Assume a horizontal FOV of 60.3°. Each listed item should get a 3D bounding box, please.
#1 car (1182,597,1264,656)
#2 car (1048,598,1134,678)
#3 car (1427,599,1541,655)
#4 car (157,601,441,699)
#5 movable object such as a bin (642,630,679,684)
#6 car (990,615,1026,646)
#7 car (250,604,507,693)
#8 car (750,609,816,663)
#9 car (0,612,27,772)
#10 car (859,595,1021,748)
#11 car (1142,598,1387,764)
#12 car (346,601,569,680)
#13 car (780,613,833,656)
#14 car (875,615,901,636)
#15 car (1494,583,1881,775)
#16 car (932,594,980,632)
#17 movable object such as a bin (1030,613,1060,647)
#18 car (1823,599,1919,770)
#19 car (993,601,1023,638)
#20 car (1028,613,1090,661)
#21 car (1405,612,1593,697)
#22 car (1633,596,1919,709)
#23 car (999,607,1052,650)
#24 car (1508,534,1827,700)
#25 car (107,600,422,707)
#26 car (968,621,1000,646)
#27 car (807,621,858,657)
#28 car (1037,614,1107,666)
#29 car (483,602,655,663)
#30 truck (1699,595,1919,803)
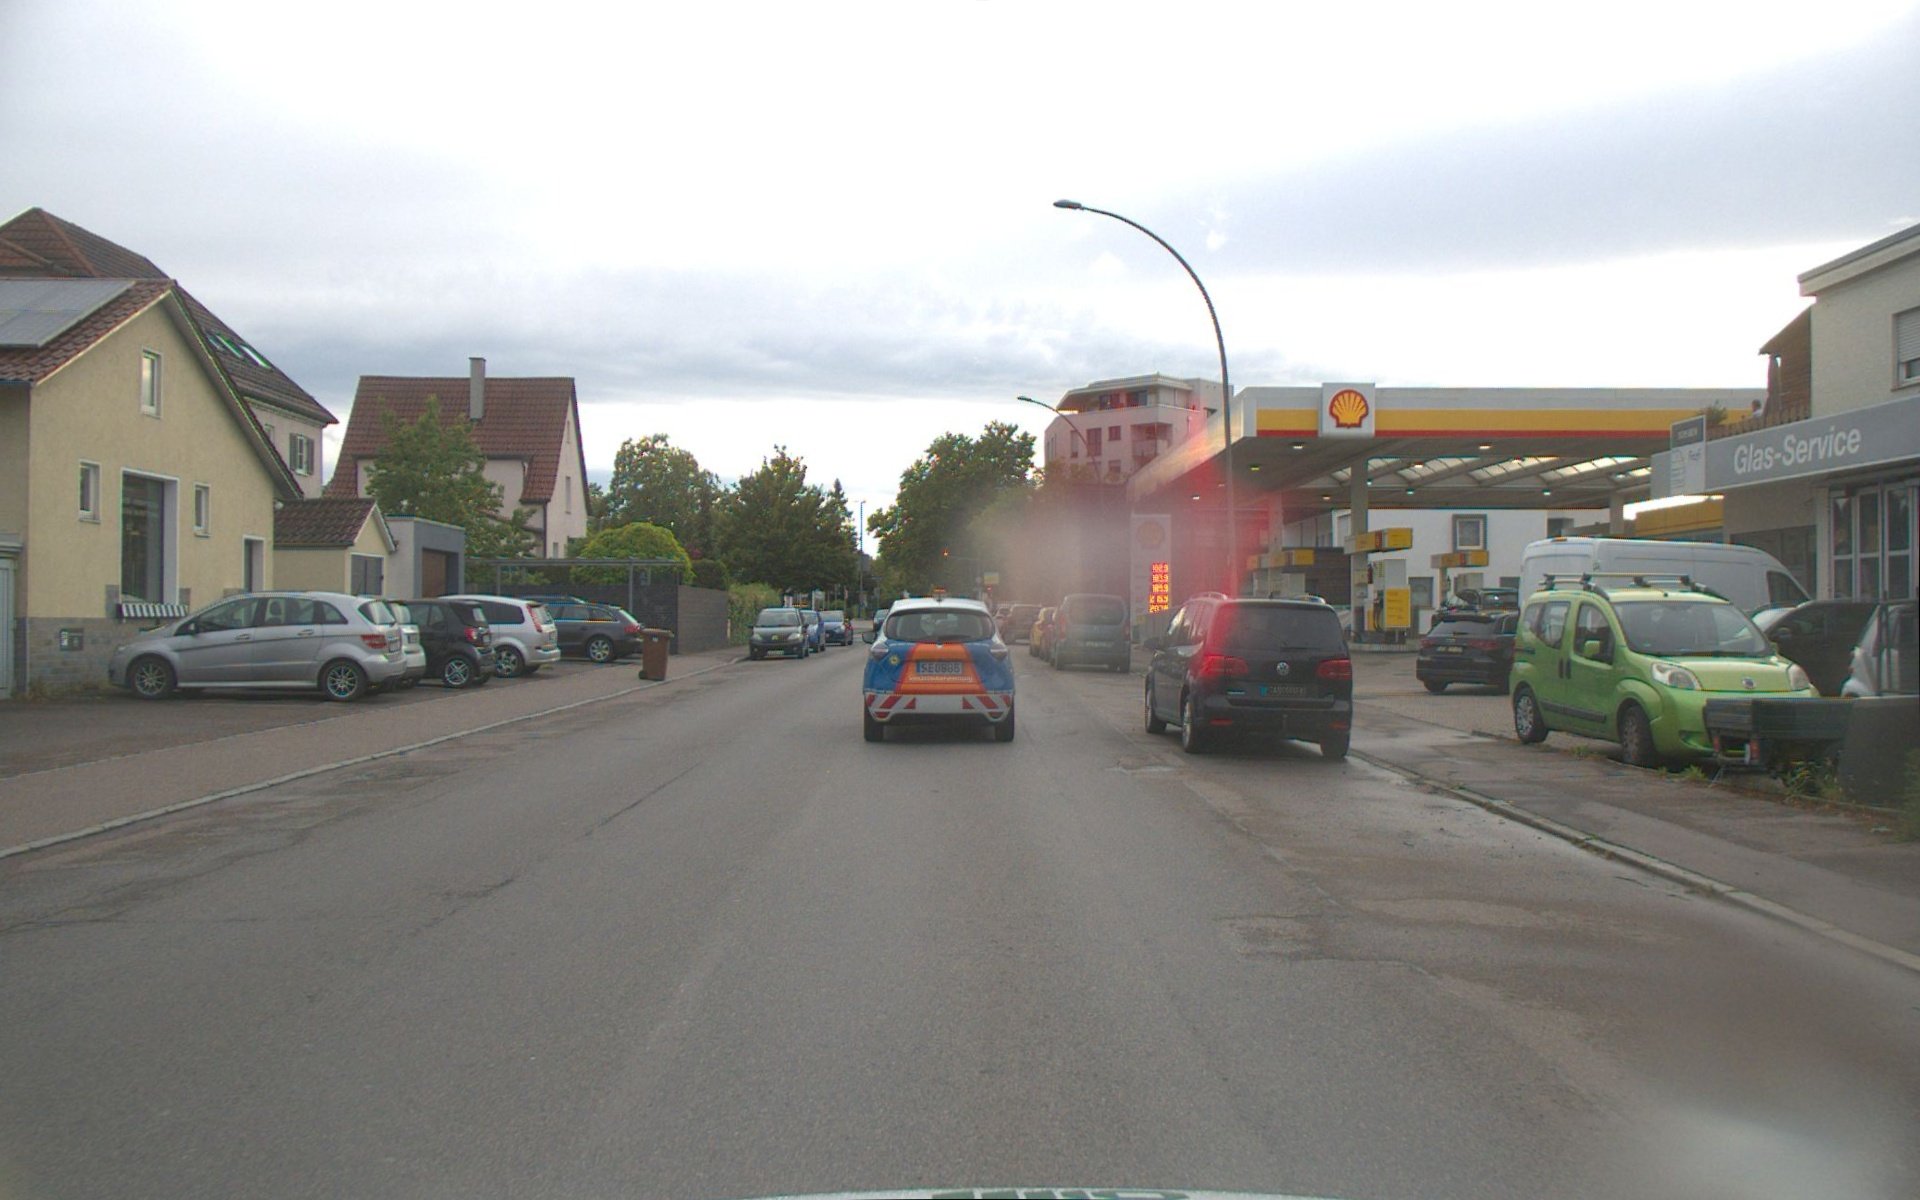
[{"bbox_3d":[8.334,0.821,52.640,1.783,1.790,3.998,0,0,-3],"label":"car"},{"bbox_3d":[3.114,0.891,40.117,1.622,1.768,4.443,2,-1,-1],"label":"car"},{"bbox_3d":[14.727,0.738,46.734,1.704,1.491,4.672,0,0,-1],"label":"car"},{"bbox_3d":[-10.916,0.805,27.551,4.003,1.559,1.812,0,0,-4],"label":"car"},{"bbox_3d":[-6.469,1.229,35.727,0.583,1.075,0.687,5,1,0],"label":"movable object such as a bin"},{"bbox_3d":[2.692,1.685,92.880,1.827,1.694,4.319,1,-1,-1],"label":"car"},{"bbox_3d":[-10.308,0.836,29.551,4.005,1.529,1.754,0,0,-6],"label":"car"},{"bbox_3d":[-5.371,1.075,50.479,1.576,1.532,3.707,-1,-1,0],"label":"car"},{"bbox_3d":[-10.686,0.856,14.662,3.795,1.463,1.767,0,0,-2],"label":"car"},{"bbox_3d":[-0.223,0.763,19.654,1.710,1.609,4.000,0,0,0],"label":"car"},{"bbox_3d":[3.232,0.795,18.336,1.953,1.624,4.000,0,0,0],"label":"car"},{"bbox_3d":[-10.079,0.800,33.450,4.005,1.540,1.881,0,0,-6],"label":"car"},{"bbox_3d":[-5.390,1.201,58.474,1.514,1.427,3.596,-1,-1,0],"label":"car"},{"bbox_3d":[-4.992,1.760,114.956,1.593,1.459,3.684,0,-1,1],"label":"car"},{"bbox_3d":[7.172,0.708,16.810,1.954,1.712,3.996,0,0,-5],"label":"car"},{"bbox_3d":[-0.152,0.563,74.599,1.952,1.601,4.001,1,0,2],"label":"car"},{"bbox_3d":[3.519,1.231,68.452,1.104,1.413,1.503,0,-1,-2],"label":"movable object such as a bin"},{"bbox_3d":[9.830,0.767,15.091,1.713,1.546,3.729,-3,0,-4],"label":"car"},{"bbox_3d":[2.900,1.134,99.075,1.741,2.064,4.755,1,0,2],"label":"car"},{"bbox_3d":[2.973,1.103,50.460,1.622,1.426,3.801,0,-1,-1],"label":"car"},{"bbox_3d":[9.720,0.921,29.691,1.749,1.399,3.975,0,0,42],"label":"car"},{"bbox_3d":[12.515,0.747,24.660,4.216,1.601,1.896,0,0,-4],"label":"car"},{"bbox_3d":[2.812,1.214,71.858,2.048,1.691,4.558,1,0,0],"label":"car"},{"bbox_3d":[11.750,0.273,27.498,4.722,2.565,2.232,0,0,-22],"label":"car"},{"bbox_3d":[-10.520,0.782,25.293,4.005,1.559,1.997,0,0,-6],"label":"car"},{"bbox_3d":[1.523,2.163,106.499,1.758,1.453,3.997,1,0,-3],"label":"car"},{"bbox_3d":[-5.276,1.599,68.857,1.770,1.427,3.944,-1,-1,0],"label":"car"},{"bbox_3d":[3.090,1.087,46.180,1.622,1.400,4.024,0,-1,-1],"label":"car"},{"bbox_3d":[-9.776,0.806,41.590,4.007,1.438,1.711,1,0,-8],"label":"car"},{"bbox_3d":[7.337,0.743,13.014,2.500,1.556,1.327,0,0,7],"label":"truck"}]
